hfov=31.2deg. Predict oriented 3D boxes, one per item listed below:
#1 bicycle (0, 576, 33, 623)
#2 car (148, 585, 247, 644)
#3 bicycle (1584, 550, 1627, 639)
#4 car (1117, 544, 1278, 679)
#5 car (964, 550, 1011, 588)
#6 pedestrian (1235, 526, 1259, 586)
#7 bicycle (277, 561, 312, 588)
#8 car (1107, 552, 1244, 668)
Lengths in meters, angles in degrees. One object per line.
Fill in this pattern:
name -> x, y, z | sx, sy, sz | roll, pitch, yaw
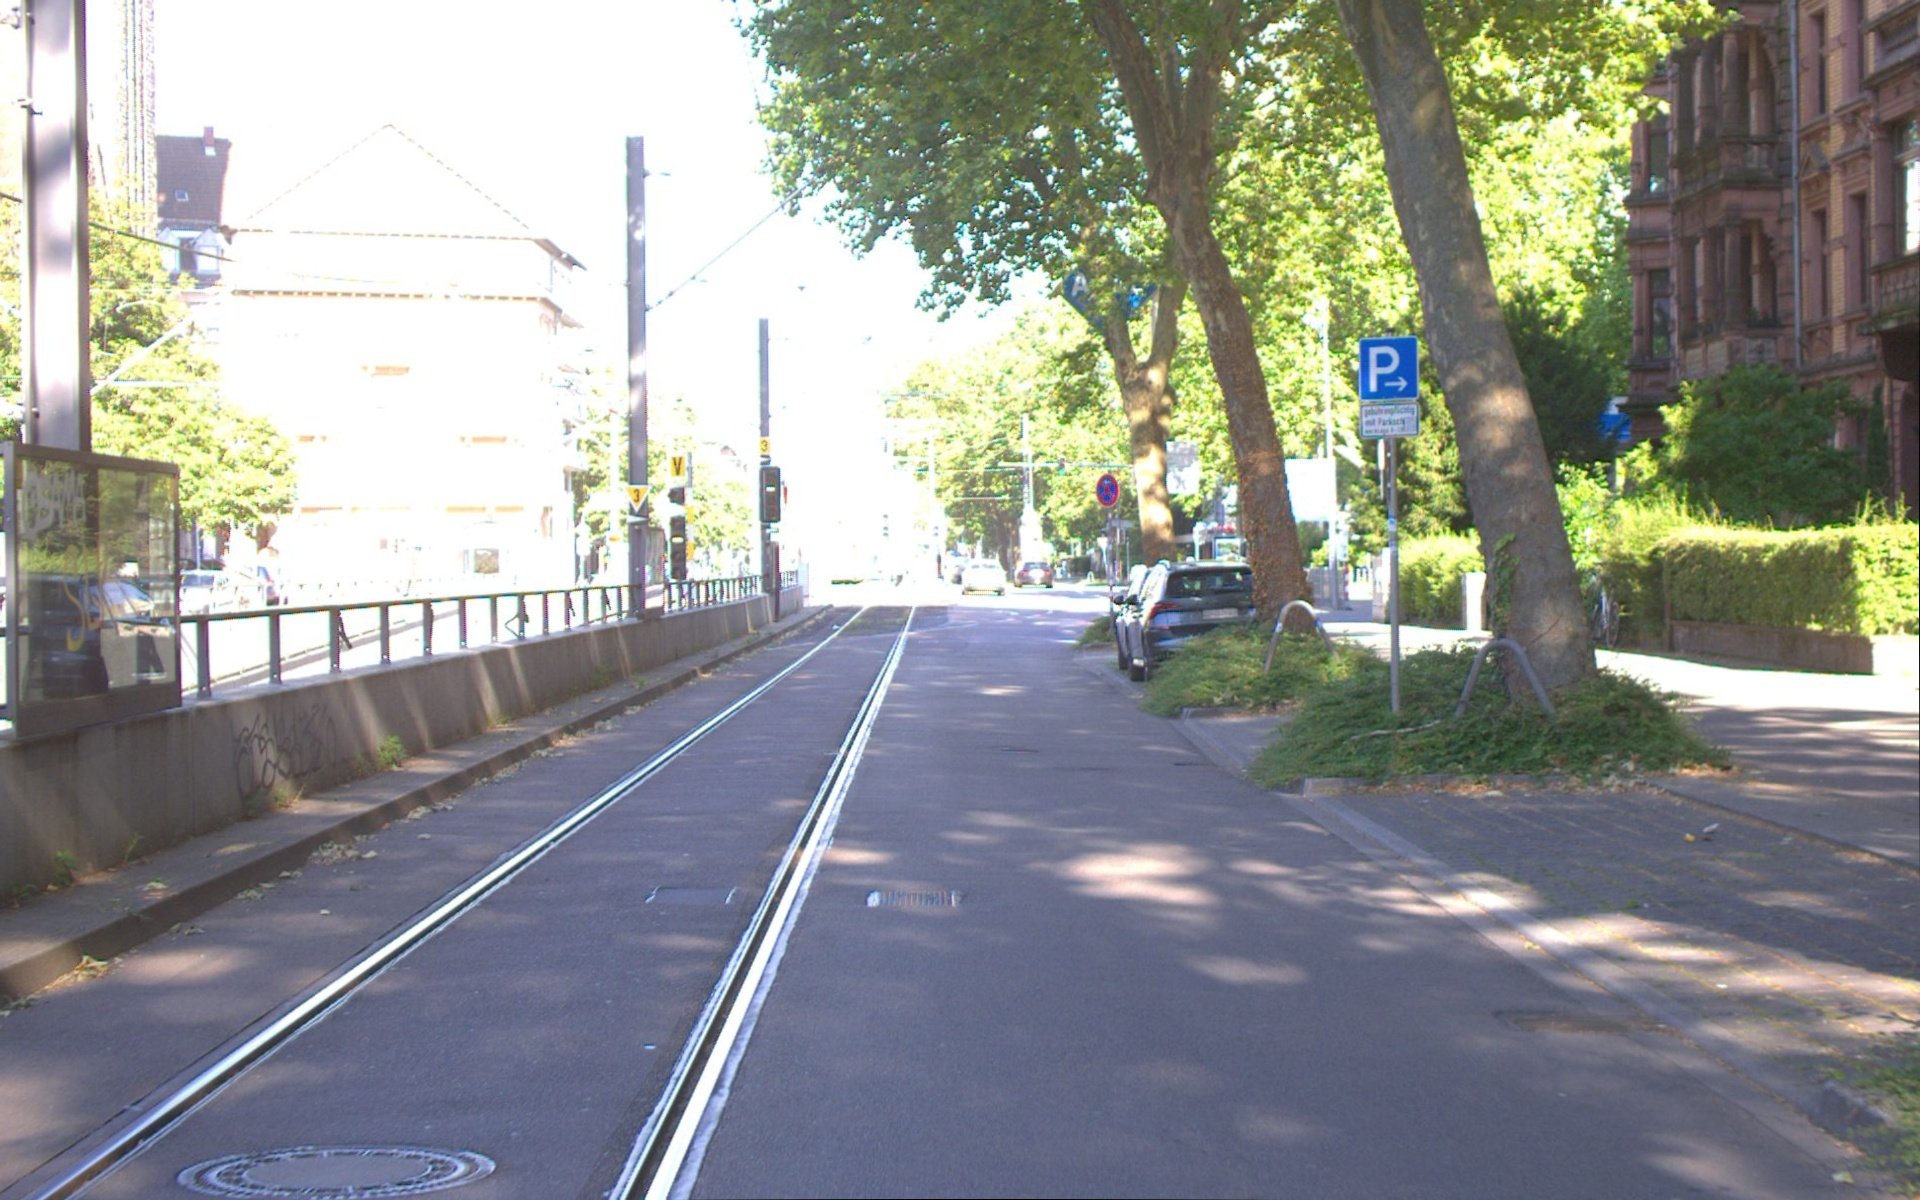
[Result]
bicycle -> -21.845, -0.023, 79.497 | 0.485, 1.019, 1.894 | 2, 1, -24
car -> -22.045, 0.402, 99.541 | 1.716, 1.550, 4.510 | 2, 1, 2
bicycle -> 9.215, -0.090, 49.117 | 0.337, 1.245, 1.766 | 2, 1, 4
car -> 2.937, 0.111, 43.273 | 1.616, 1.582, 4.417 | -1, 1, -1
car -> 1.117, -1.272, 140.962 | 1.745, 1.457, 3.645 | 2, 1, -1
pedestrian -> 8.596, -1.317, 103.093 | 0.603, 1.770, 0.690 | -4, 0, 4
bicycle -> -32.585, -1.252, 168.416 | 0.821, 1.278, 2.565 | 2, 1, -31
car -> 2.938, 0.112, 47.532 | 1.551, 1.494, 4.050 | -1, 1, -1
